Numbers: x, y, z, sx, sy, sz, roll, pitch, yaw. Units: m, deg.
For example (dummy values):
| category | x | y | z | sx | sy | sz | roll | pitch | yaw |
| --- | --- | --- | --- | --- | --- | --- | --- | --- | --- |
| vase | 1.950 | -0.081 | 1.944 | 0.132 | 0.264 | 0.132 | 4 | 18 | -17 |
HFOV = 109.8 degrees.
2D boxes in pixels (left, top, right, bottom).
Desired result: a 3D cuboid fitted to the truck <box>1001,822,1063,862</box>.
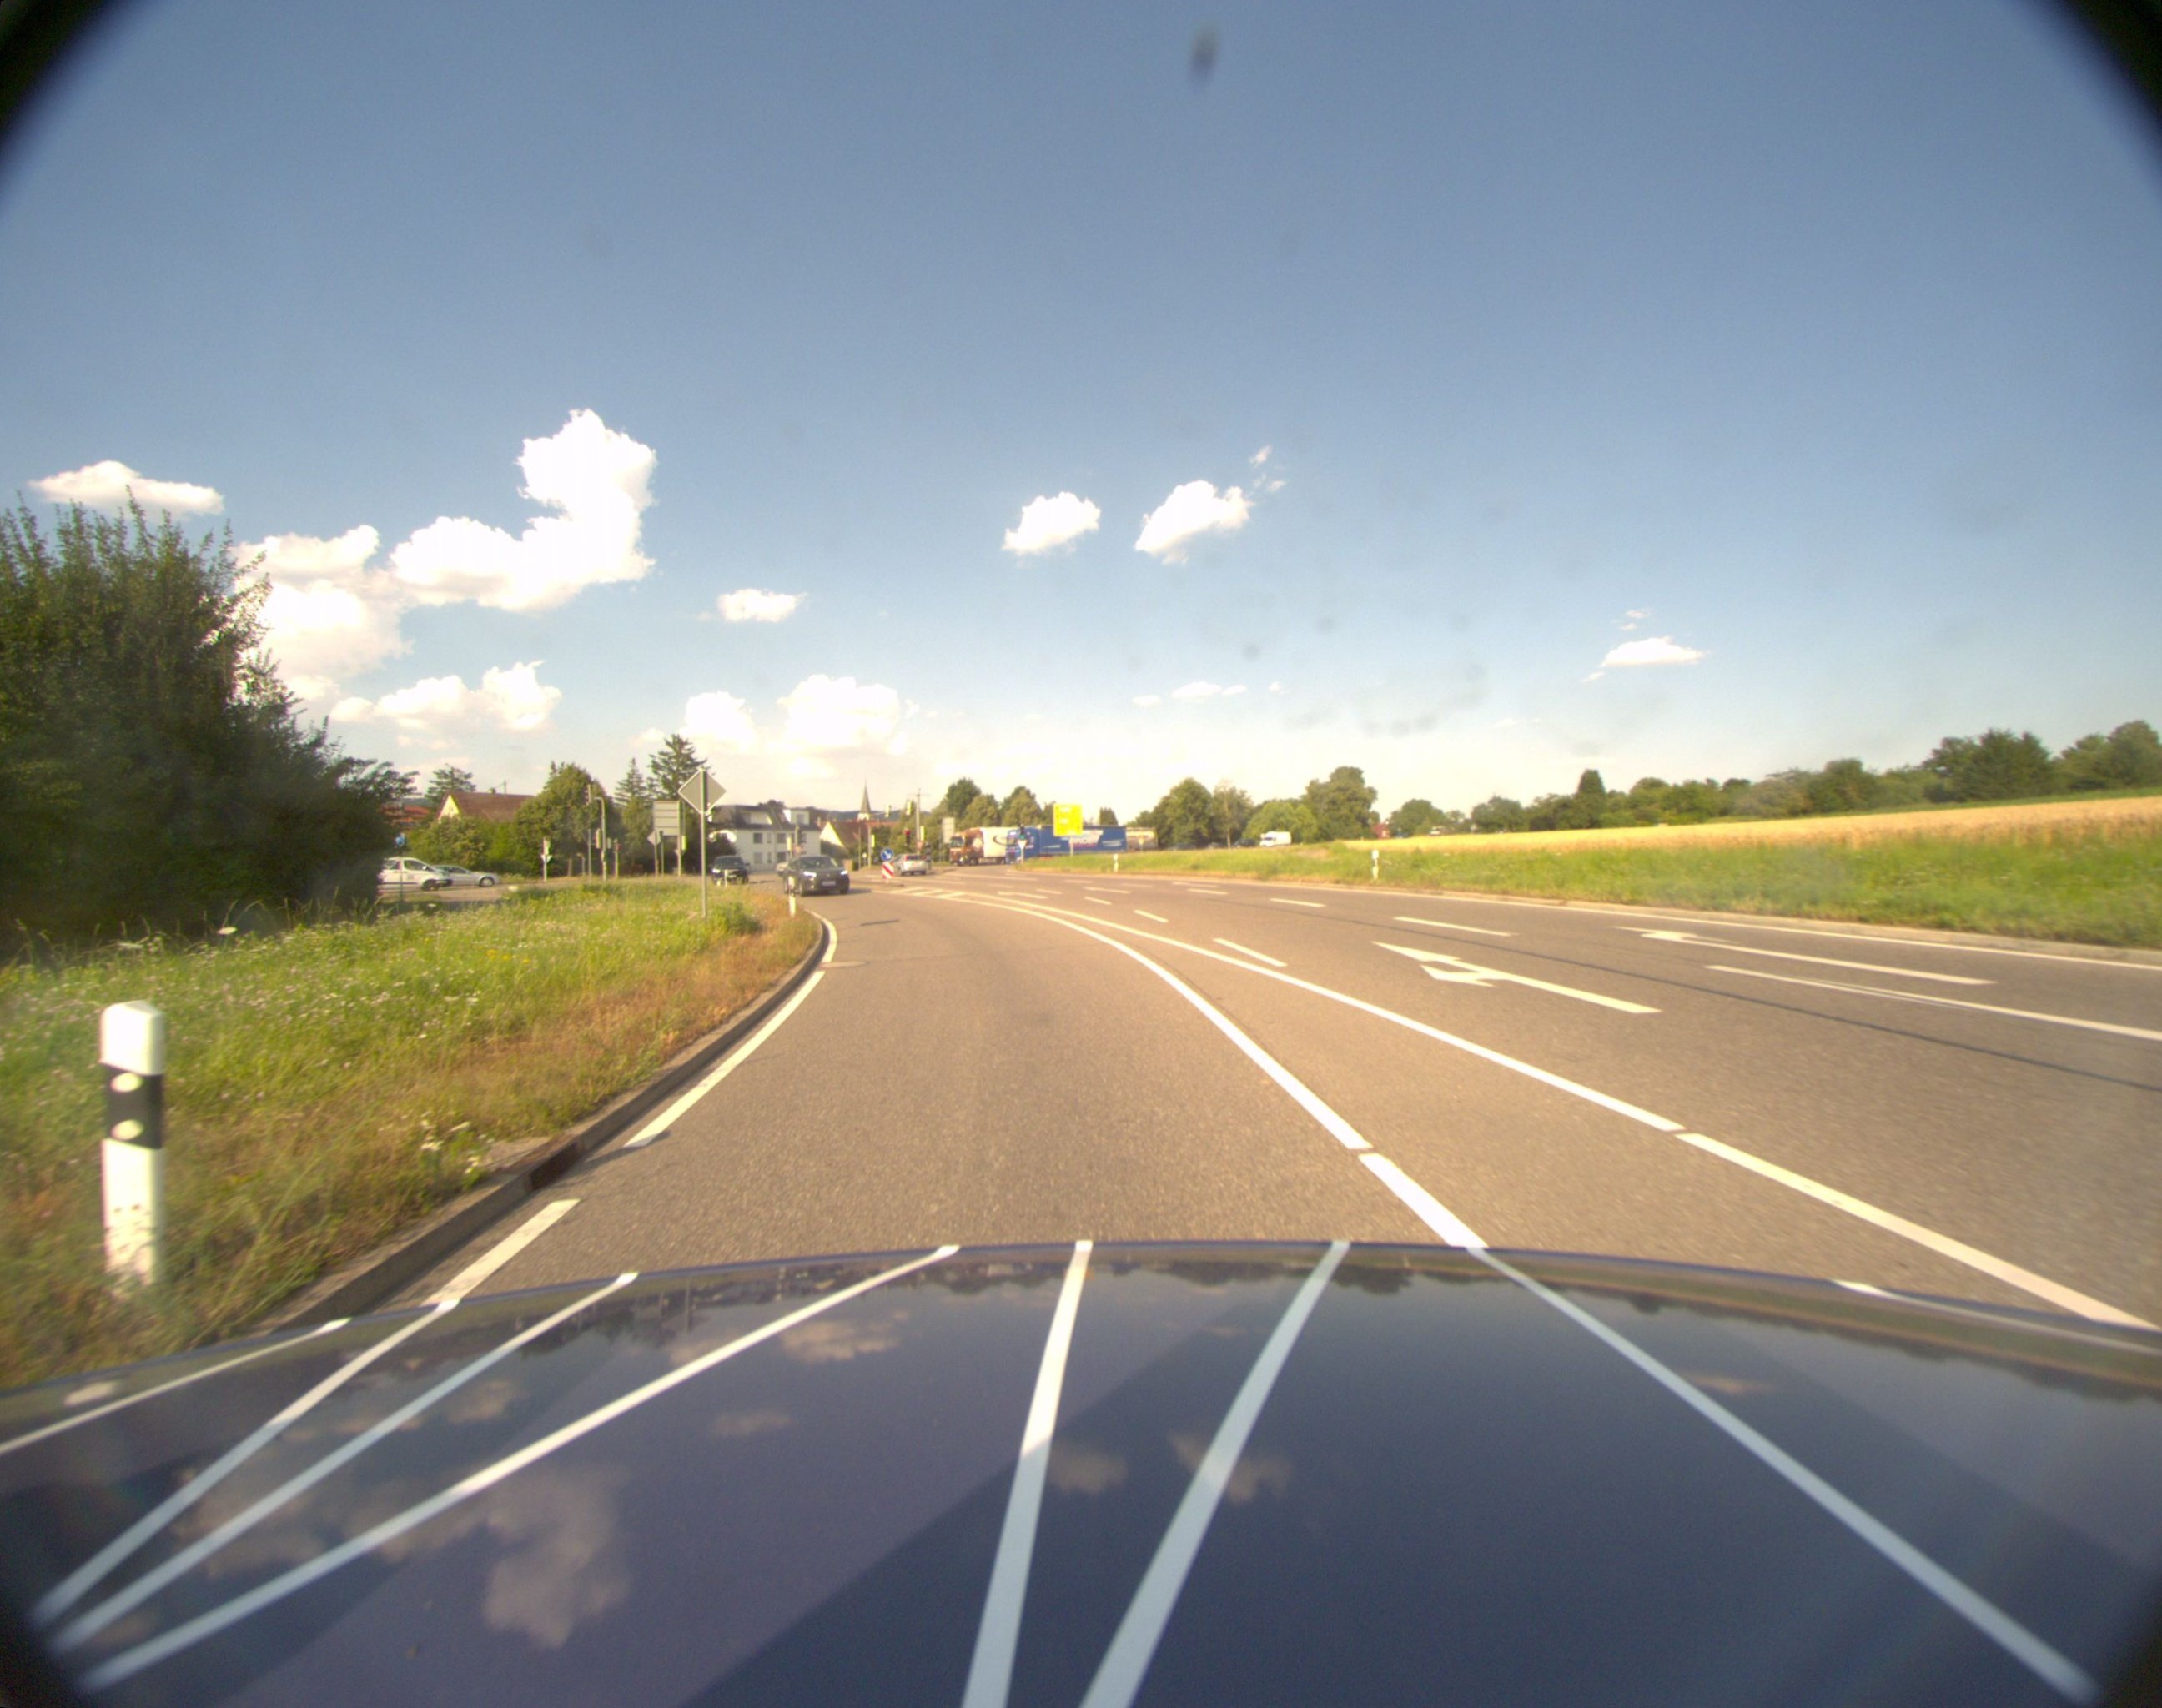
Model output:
| category | x | y | z | sx | sy | sz | roll | pitch | yaw |
| --- | --- | --- | --- | --- | --- | --- | --- | --- | --- |
| truck | -5.190 | -1.301 | 80.617 | 3.367 | 3.982 | 5.612 | -2 | 1 | 44 |

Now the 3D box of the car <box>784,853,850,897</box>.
| category | x | y | z | sx | sy | sz | roll | pitch | yaw |
| --- | --- | --- | --- | --- | --- | --- | --- | --- | --- |
| car | -10.942 | 0.837 | 31.347 | 1.791 | 1.620 | 4.459 | -3 | 1 | -29 |

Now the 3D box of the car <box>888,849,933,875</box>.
| category | x | y | z | sx | sy | sz | roll | pitch | yaw |
| --- | --- | --- | --- | --- | --- | --- | --- | --- | --- |
| car | -11.799 | 0.575 | 52.484 | 1.823 | 1.519 | 4.345 | -3 | -1 | -29 |

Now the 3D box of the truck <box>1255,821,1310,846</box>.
| category | x | y | z | sx | sy | sz | roll | pitch | yaw |
| --- | --- | --- | --- | --- | --- | --- | --- | --- | --- |
| truck | 33.302 | -3.437 | 124.920 | 12.922 | 3.752 | 2.523 | -3 | 1 | -45 |

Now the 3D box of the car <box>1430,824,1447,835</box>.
| category | x | y | z | sx | sy | sz | roll | pitch | yaw |
| --- | --- | --- | --- | --- | --- | --- | --- | --- | --- |
| car | 79.497 | -5.441 | 168.901 | 4.006 | 2.002 | 1.995 | -5 | 1 | -42 |

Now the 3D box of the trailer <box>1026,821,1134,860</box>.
| category | x | y | z | sx | sy | sz | roll | pitch | yaw |
| --- | --- | --- | --- | --- | --- | --- | --- | --- | --- |
| trailer | 0.191 | -1.594 | 86.209 | 3.410 | 3.982 | 13.775 | -2 | 1 | 44 |

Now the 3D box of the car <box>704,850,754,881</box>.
| category | x | y | z | sx | sy | sz | roll | pitch | yaw |
| --- | --- | --- | --- | --- | --- | --- | --- | --- | --- |
| car | -20.313 | 0.681 | 43.755 | 1.779 | 1.604 | 4.536 | -3 | 1 | -35 |

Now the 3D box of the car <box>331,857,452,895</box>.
| category | x | y | z | sx | sy | sz | roll | pitch | yaw |
| --- | --- | --- | --- | --- | --- | --- | --- | --- | --- |
| car | -38.038 | 1.203 | 42.022 | 1.901 | 1.936 | 4.828 | -2 | -1 | 44 |

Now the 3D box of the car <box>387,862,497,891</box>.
| category | x | y | z | sx | sy | sz | roll | pitch | yaw |
| --- | --- | --- | --- | --- | --- | --- | --- | --- | --- |
| car | -39.277 | 1.365 | 46.773 | 1.858 | 1.505 | 4.962 | -2 | 1 | 44 |

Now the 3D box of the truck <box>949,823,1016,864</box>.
| category | x | y | z | sx | sy | sz | roll | pitch | yaw |
| --- | --- | --- | --- | --- | --- | --- | --- | --- | --- |
| truck | -10.428 | -1.128 | 80.637 | 6.674 | 4.020 | 2.533 | -3 | 1 | -45 |

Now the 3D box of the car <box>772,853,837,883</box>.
| category | x | y | z | sx | sy | sz | roll | pitch | yaw |
| --- | --- | --- | --- | --- | --- | --- | --- | --- | --- |
| car | -21.227 | 1.058 | 58.554 | 1.903 | 1.937 | 4.378 | -3 | 2 | 30 |

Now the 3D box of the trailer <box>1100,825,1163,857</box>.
| category | x | y | z | sx | sy | sz | roll | pitch | yaw |
| --- | --- | --- | --- | --- | --- | --- | --- | --- | --- |
| trailer | 6.564 | -1.749 | 97.284 | 2.260 | 3.755 | 9.543 | -3 | 0 | 44 |

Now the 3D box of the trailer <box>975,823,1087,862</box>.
| category | x | y | z | sx | sy | sz | roll | pitch | yaw |
| --- | --- | --- | --- | --- | --- | --- | --- | --- | --- |
| trailer | -5.368 | -1.362 | 85.696 | 2.533 | 4.043 | 14.363 | -2 | 1 | 45 |

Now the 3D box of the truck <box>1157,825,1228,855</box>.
| category | x | y | z | sx | sy | sz | roll | pitch | yaw |
| --- | --- | --- | --- | --- | --- | --- | --- | --- | --- |
| truck | 15.870 | -2.085 | 107.211 | 12.922 | 3.752 | 2.523 | -3 | 1 | -45 |
